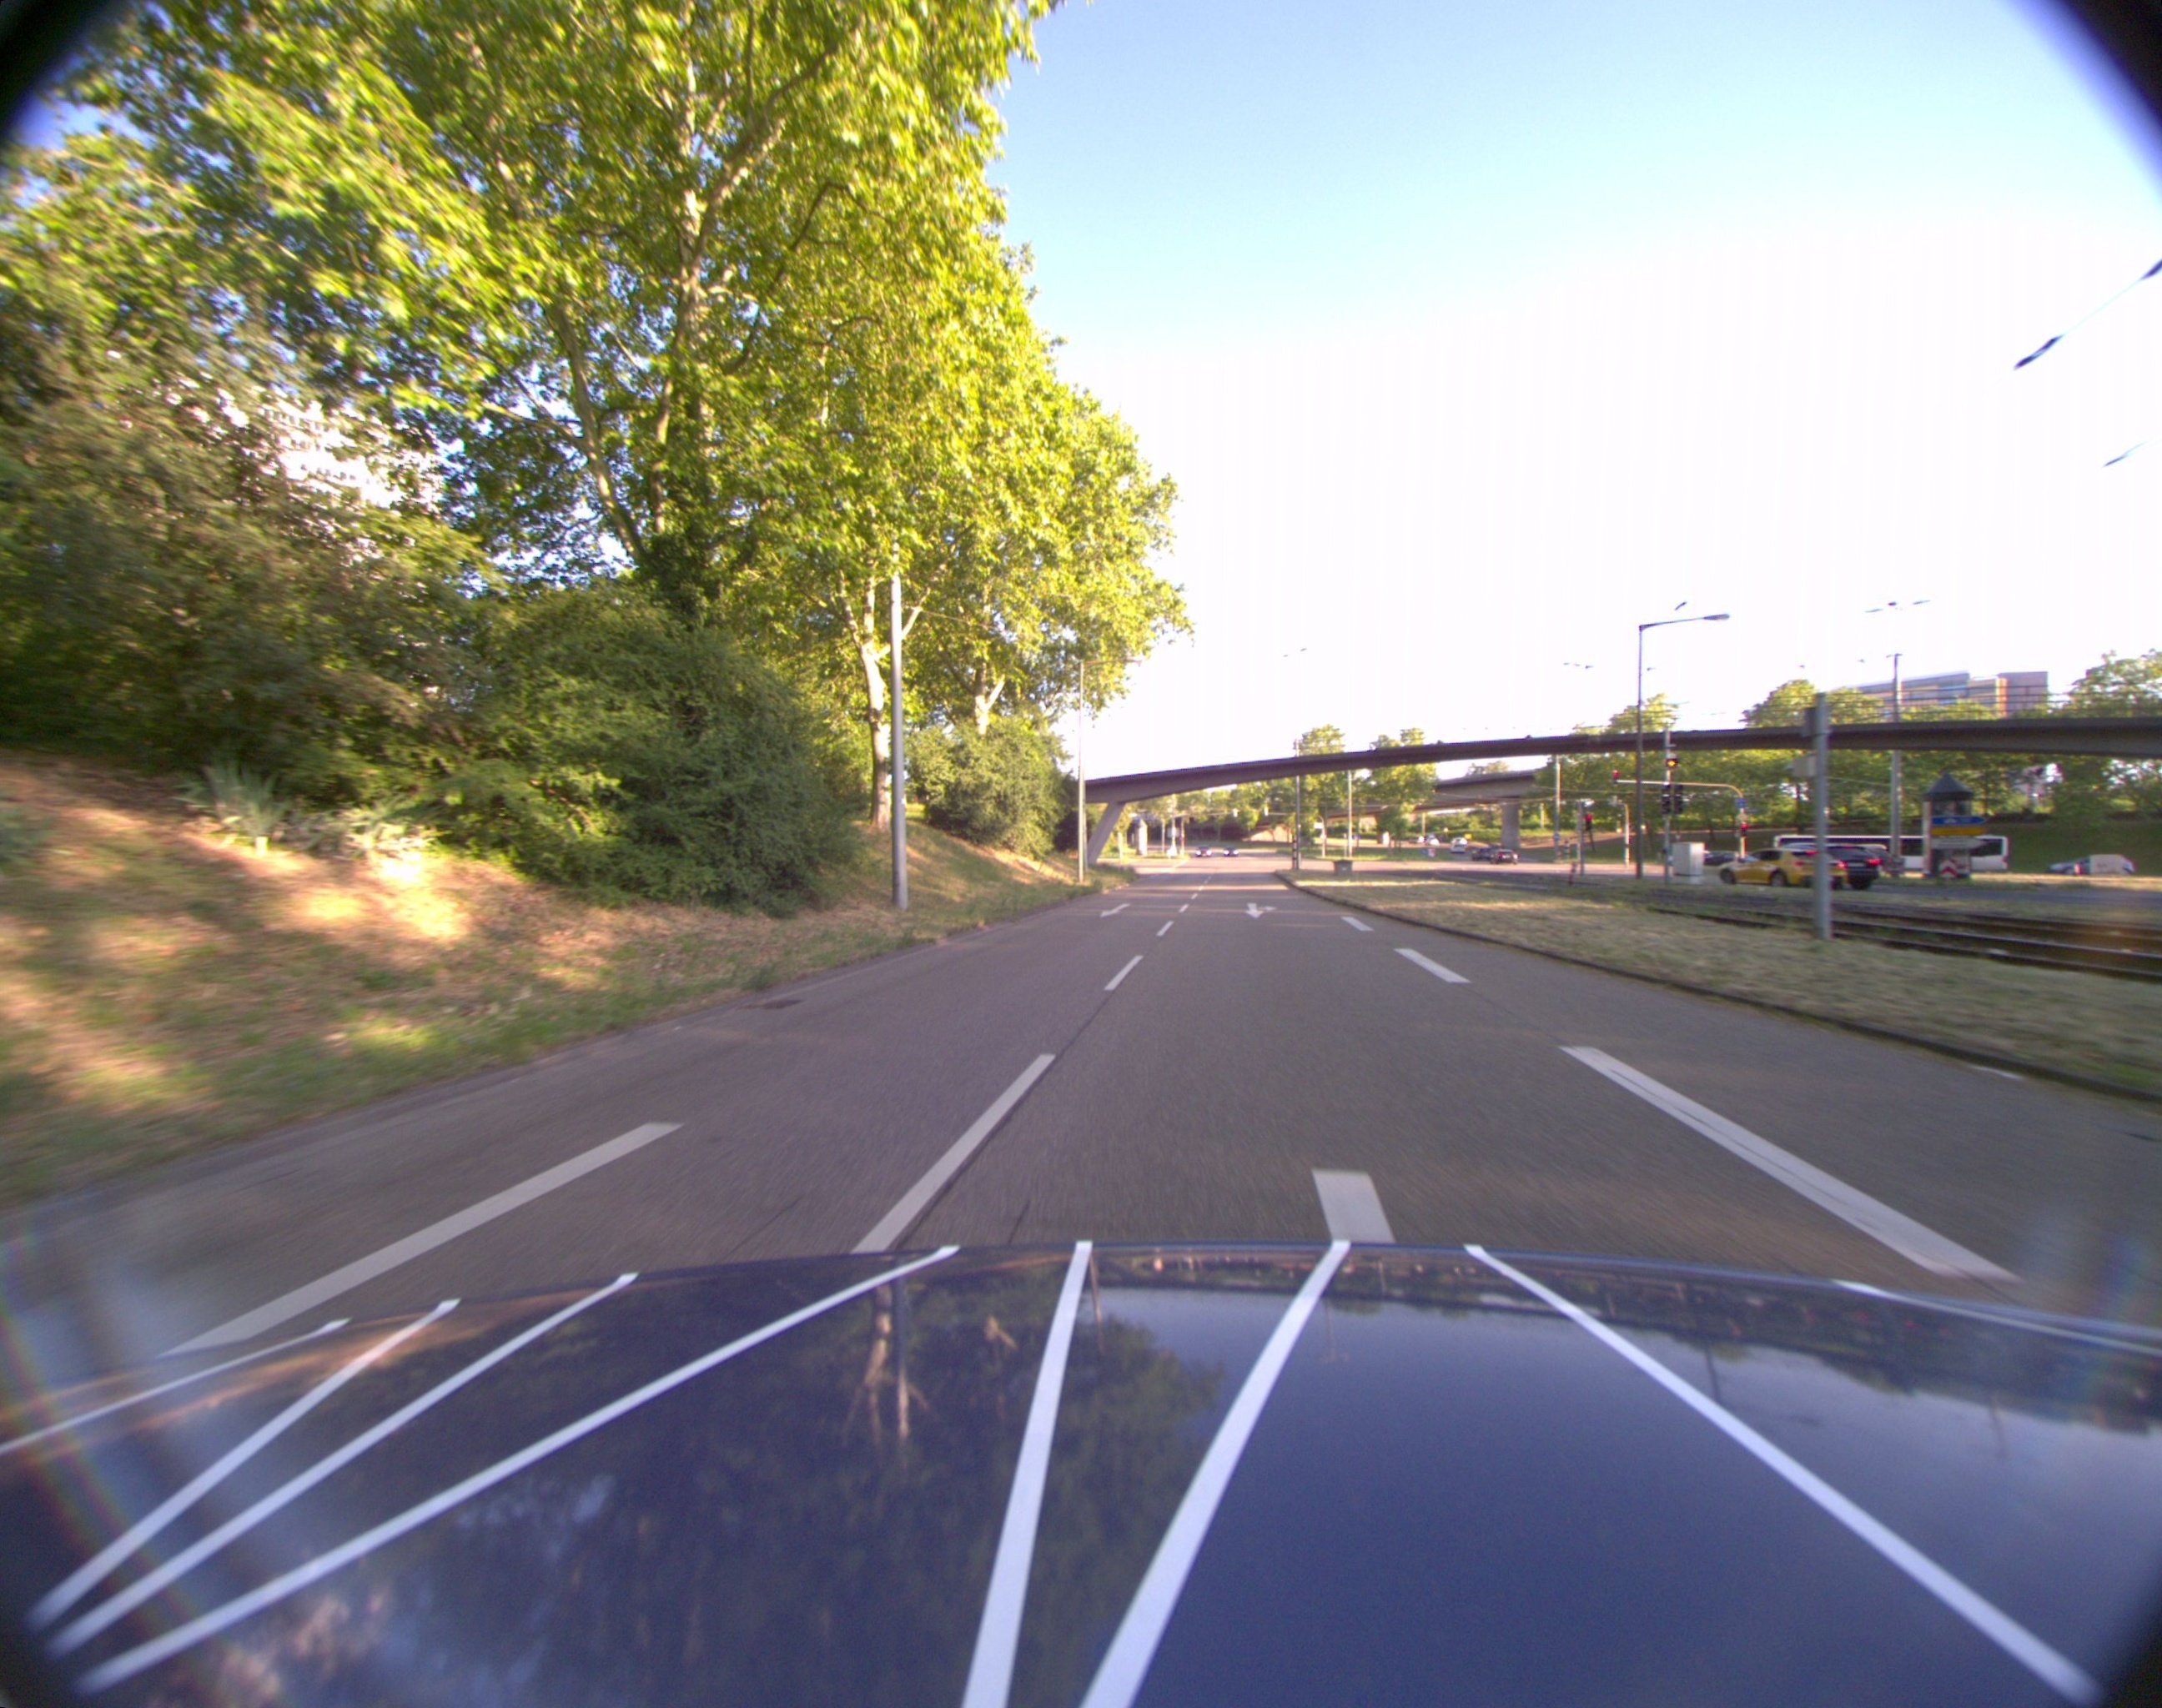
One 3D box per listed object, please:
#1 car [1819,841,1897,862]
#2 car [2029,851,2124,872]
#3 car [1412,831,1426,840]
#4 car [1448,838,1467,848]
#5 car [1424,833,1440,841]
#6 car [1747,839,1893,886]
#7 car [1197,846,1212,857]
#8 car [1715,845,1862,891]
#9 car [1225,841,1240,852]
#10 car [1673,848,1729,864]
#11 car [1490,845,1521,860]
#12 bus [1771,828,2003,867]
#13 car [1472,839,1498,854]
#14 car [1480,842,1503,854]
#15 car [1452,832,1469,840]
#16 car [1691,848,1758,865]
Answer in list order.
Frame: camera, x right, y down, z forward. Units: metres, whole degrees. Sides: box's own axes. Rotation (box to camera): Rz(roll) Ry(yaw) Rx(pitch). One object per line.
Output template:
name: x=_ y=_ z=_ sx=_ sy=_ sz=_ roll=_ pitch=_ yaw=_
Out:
car: x=62.286 y=-0.222 z=60.996 sx=4.083 sy=1.643 sz=1.720 roll=1 pitch=2 yaw=33
car: x=74.926 y=0.538 z=57.257 sx=3.988 sy=1.434 sz=1.708 roll=1 pitch=2 yaw=33
car: x=73.099 y=-4.080 z=164.366 sx=1.854 sy=1.856 sz=4.148 roll=0 pitch=1 yaw=10
car: x=56.147 y=-1.644 z=113.353 sx=2.007 sy=1.435 sz=4.866 roll=-1 pitch=1 yaw=20
car: x=71.778 y=-3.547 z=155.486 sx=1.854 sy=1.600 sz=4.310 roll=0 pitch=1 yaw=9
car: x=28.500 y=0.308 z=29.527 sx=1.842 sy=1.645 sz=4.439 roll=-2 pitch=0 yaw=9
car: x=17.219 y=-0.314 z=106.075 sx=1.997 sy=1.477 sz=4.003 roll=-1 pitch=0 yaw=9
car: x=24.335 y=0.431 z=26.354 sx=1.841 sy=1.408 sz=4.021 roll=-1 pitch=1 yaw=10
car: x=21.595 y=-1.036 z=108.565 sx=1.997 sy=1.477 sz=4.003 roll=-1 pitch=0 yaw=9
car: x=56.676 y=0.143 z=69.522 sx=3.724 sy=1.346 sz=1.612 roll=1 pitch=2 yaw=31
car: x=40.558 y=-0.183 z=72.706 sx=1.688 sy=1.302 sz=4.314 roll=-1 pitch=1 yaw=16
bus: x=66.116 y=-0.573 z=63.036 sx=12.815 sy=2.938 sz=2.837 roll=1 pitch=2 yaw=35
car: x=45.195 y=-0.895 z=85.102 sx=1.792 sy=1.641 sz=4.362 roll=-1 pitch=1 yaw=17
car: x=55.637 y=-0.833 z=103.034 sx=2.008 sy=1.435 sz=4.258 roll=-1 pitch=1 yaw=17
car: x=73.535 y=-3.489 z=147.203 sx=1.854 sy=1.600 sz=4.373 roll=0 pitch=1 yaw=11
car: x=53.669 y=0.211 z=63.511 sx=4.083 sy=1.346 sz=1.720 roll=1 pitch=2 yaw=33
